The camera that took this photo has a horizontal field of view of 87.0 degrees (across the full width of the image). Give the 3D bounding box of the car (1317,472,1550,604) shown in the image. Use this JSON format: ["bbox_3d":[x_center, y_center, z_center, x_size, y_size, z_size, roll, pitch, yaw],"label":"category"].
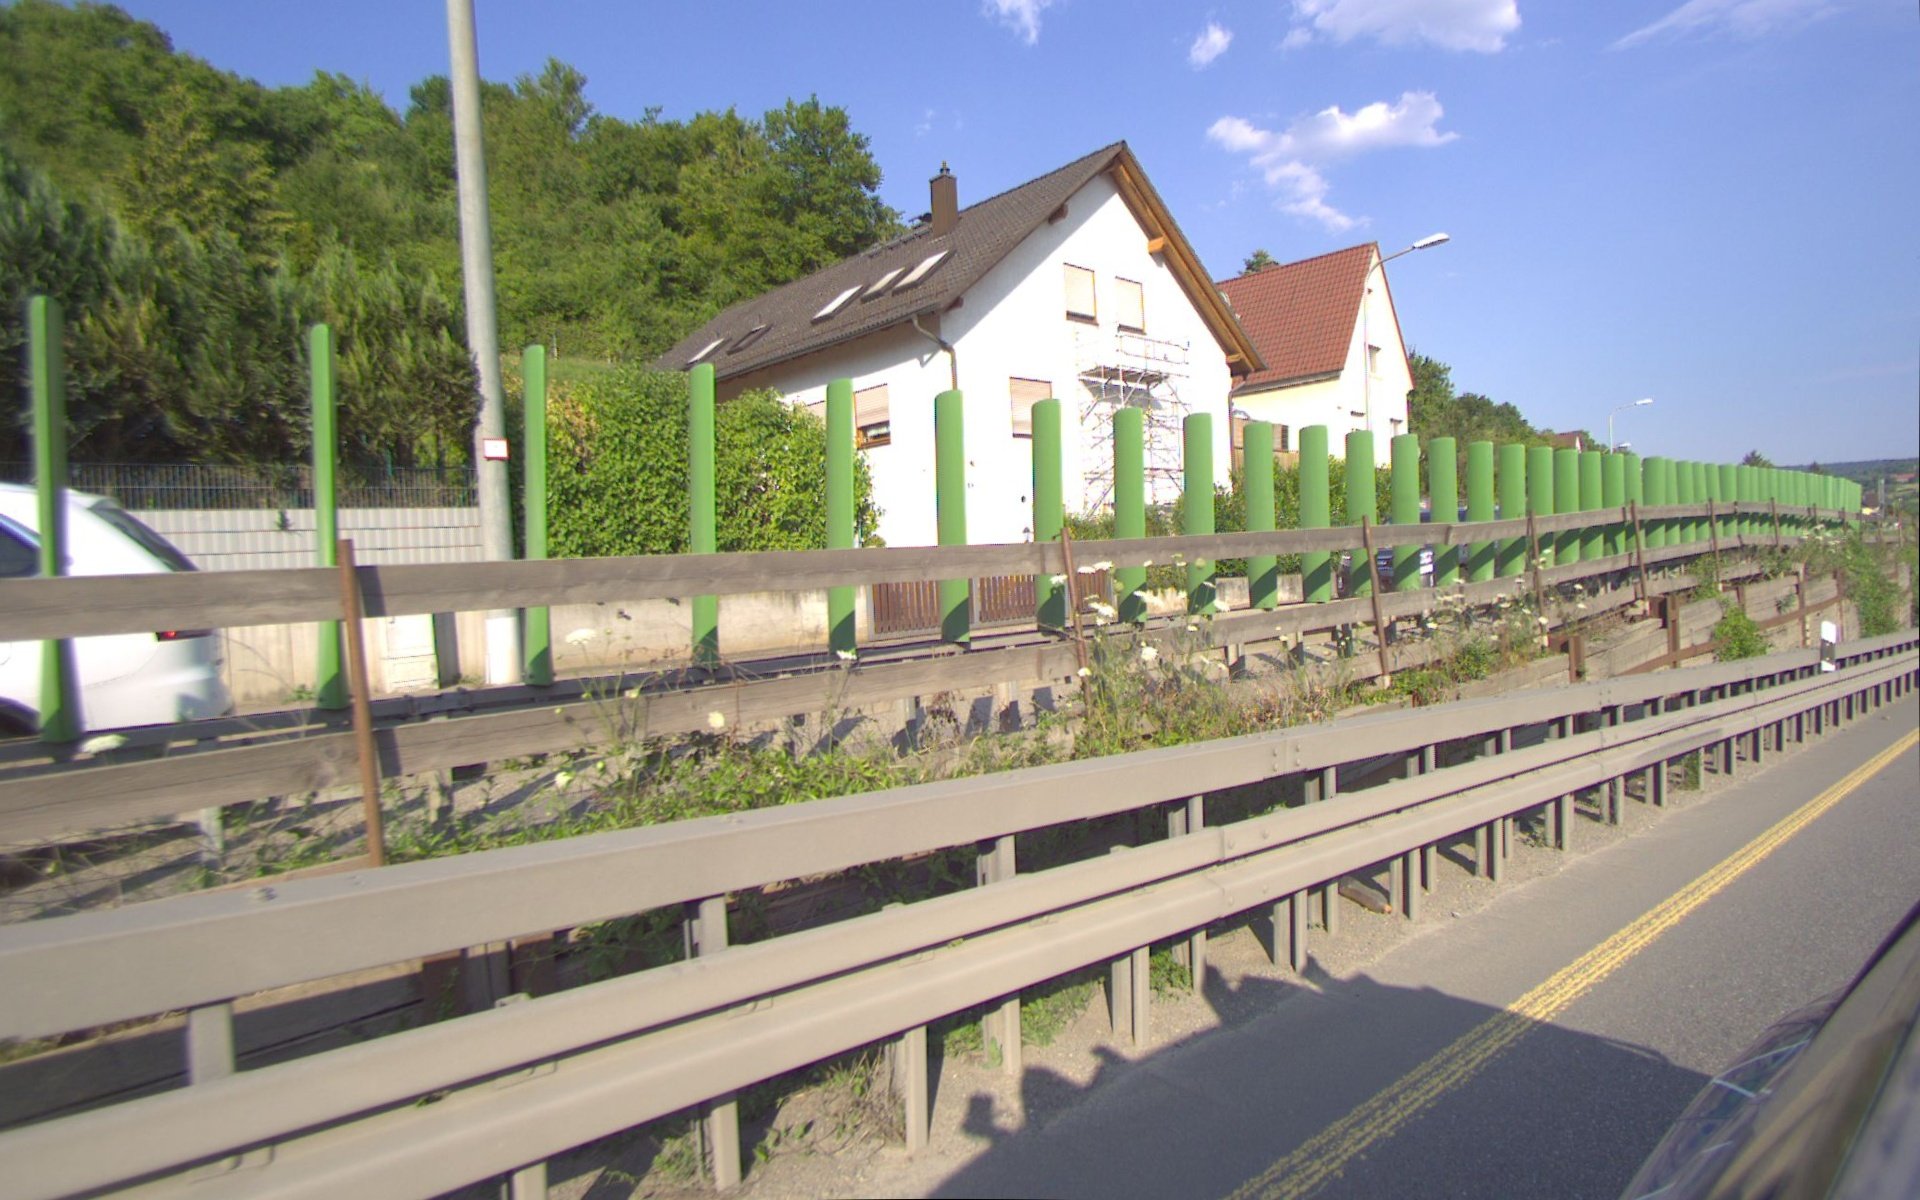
[{"bbox_3d":[7.792,-0.907,16.495,4.173,1.835,1.885,-1,-1,-41],"label":"car"}]

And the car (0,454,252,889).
[{"bbox_3d":[-5.385,0.354,3.518,4.571,1.679,1.699,-4,2,-43],"label":"car"}]
